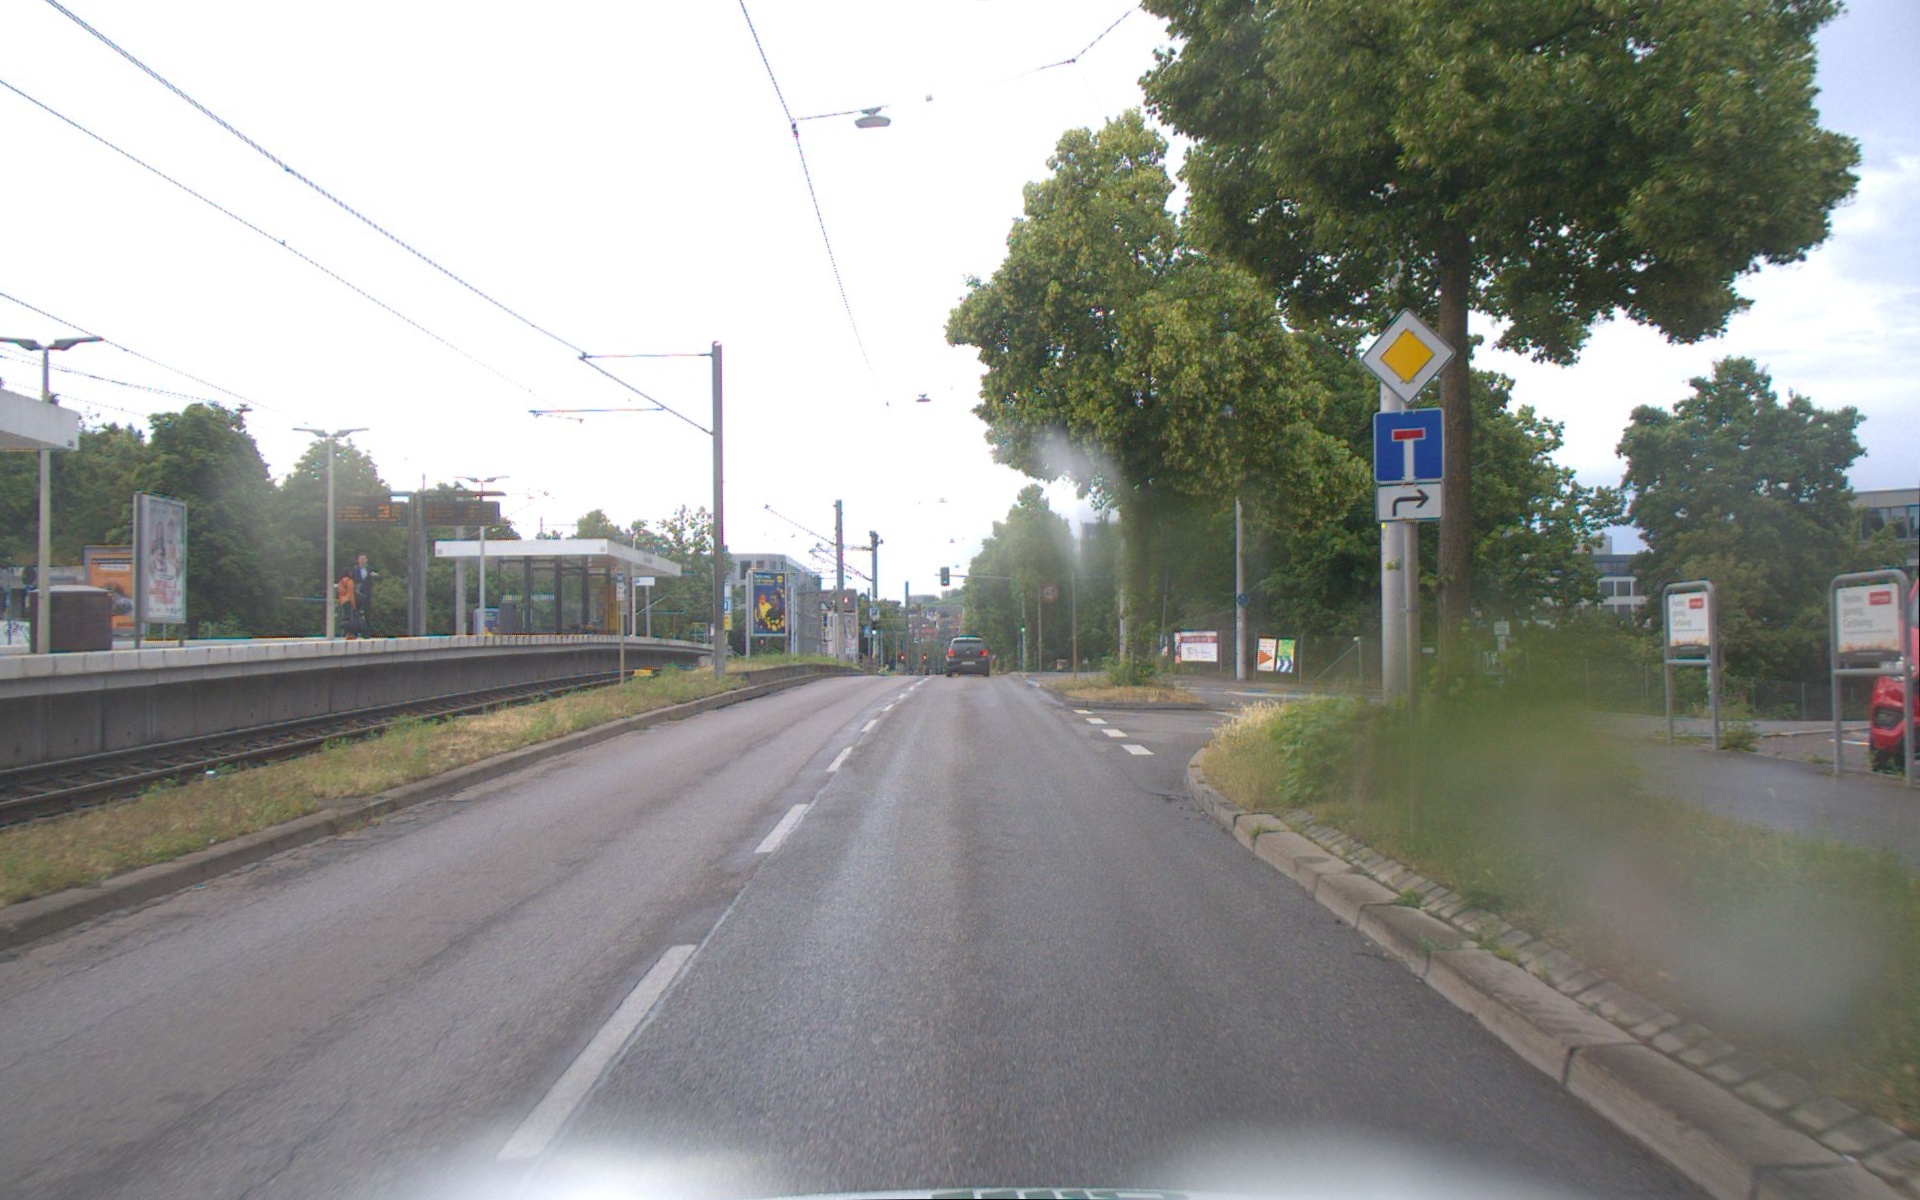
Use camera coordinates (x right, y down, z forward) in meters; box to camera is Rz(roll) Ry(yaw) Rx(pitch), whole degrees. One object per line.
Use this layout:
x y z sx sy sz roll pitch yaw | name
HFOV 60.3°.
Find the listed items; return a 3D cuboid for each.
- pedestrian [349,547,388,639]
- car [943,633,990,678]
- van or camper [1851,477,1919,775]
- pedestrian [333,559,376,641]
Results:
-12.788 -0.147 35.755 0.732 1.943 0.836 1 0 -22 | pedestrian
0.233 2.076 62.643 1.691 1.568 3.999 0 -1 0 | car
10.044 0.374 15.236 2.005 2.448 5.359 3 -1 41 | van or camper
-12.722 -0.005 34.744 0.784 1.676 0.913 1 0 -22 | pedestrian
